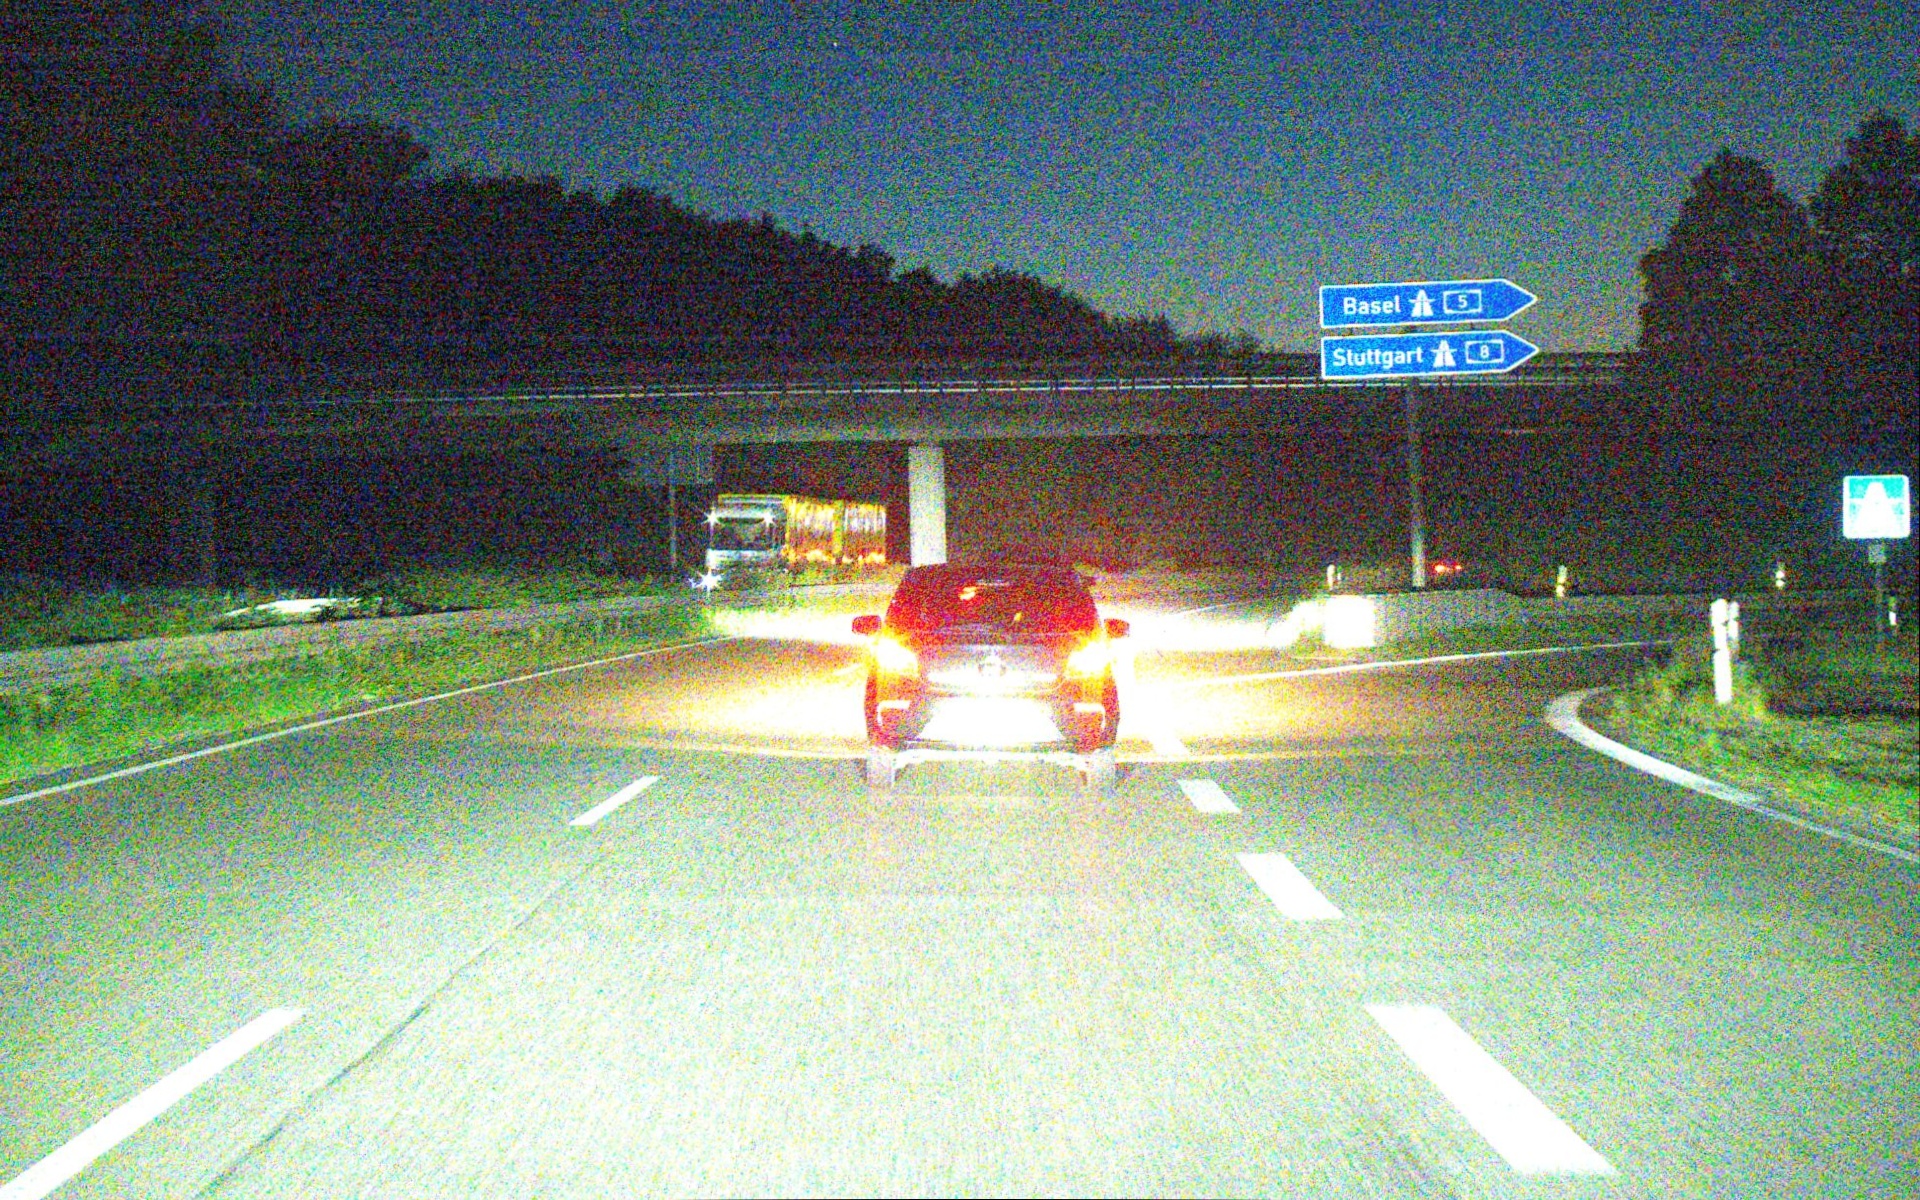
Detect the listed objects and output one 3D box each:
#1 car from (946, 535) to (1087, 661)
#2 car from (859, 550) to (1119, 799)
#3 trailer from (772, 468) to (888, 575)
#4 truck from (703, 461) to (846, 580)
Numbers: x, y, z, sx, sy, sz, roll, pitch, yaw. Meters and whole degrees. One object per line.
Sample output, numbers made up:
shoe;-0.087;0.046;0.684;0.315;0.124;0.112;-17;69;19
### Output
car;0.818;-0.068;48.782;1.906;1.692;4.000;0;1;1
car;0.126;0.434;23.276;1.588;1.503;4.000;1;1;-2
trailer;-4.949;-3.015;132.575;2.718;3.943;9.044;-1;1;9
truck;-6.526;-2.823;122.934;2.682;4.030;10.649;-1;1;10
